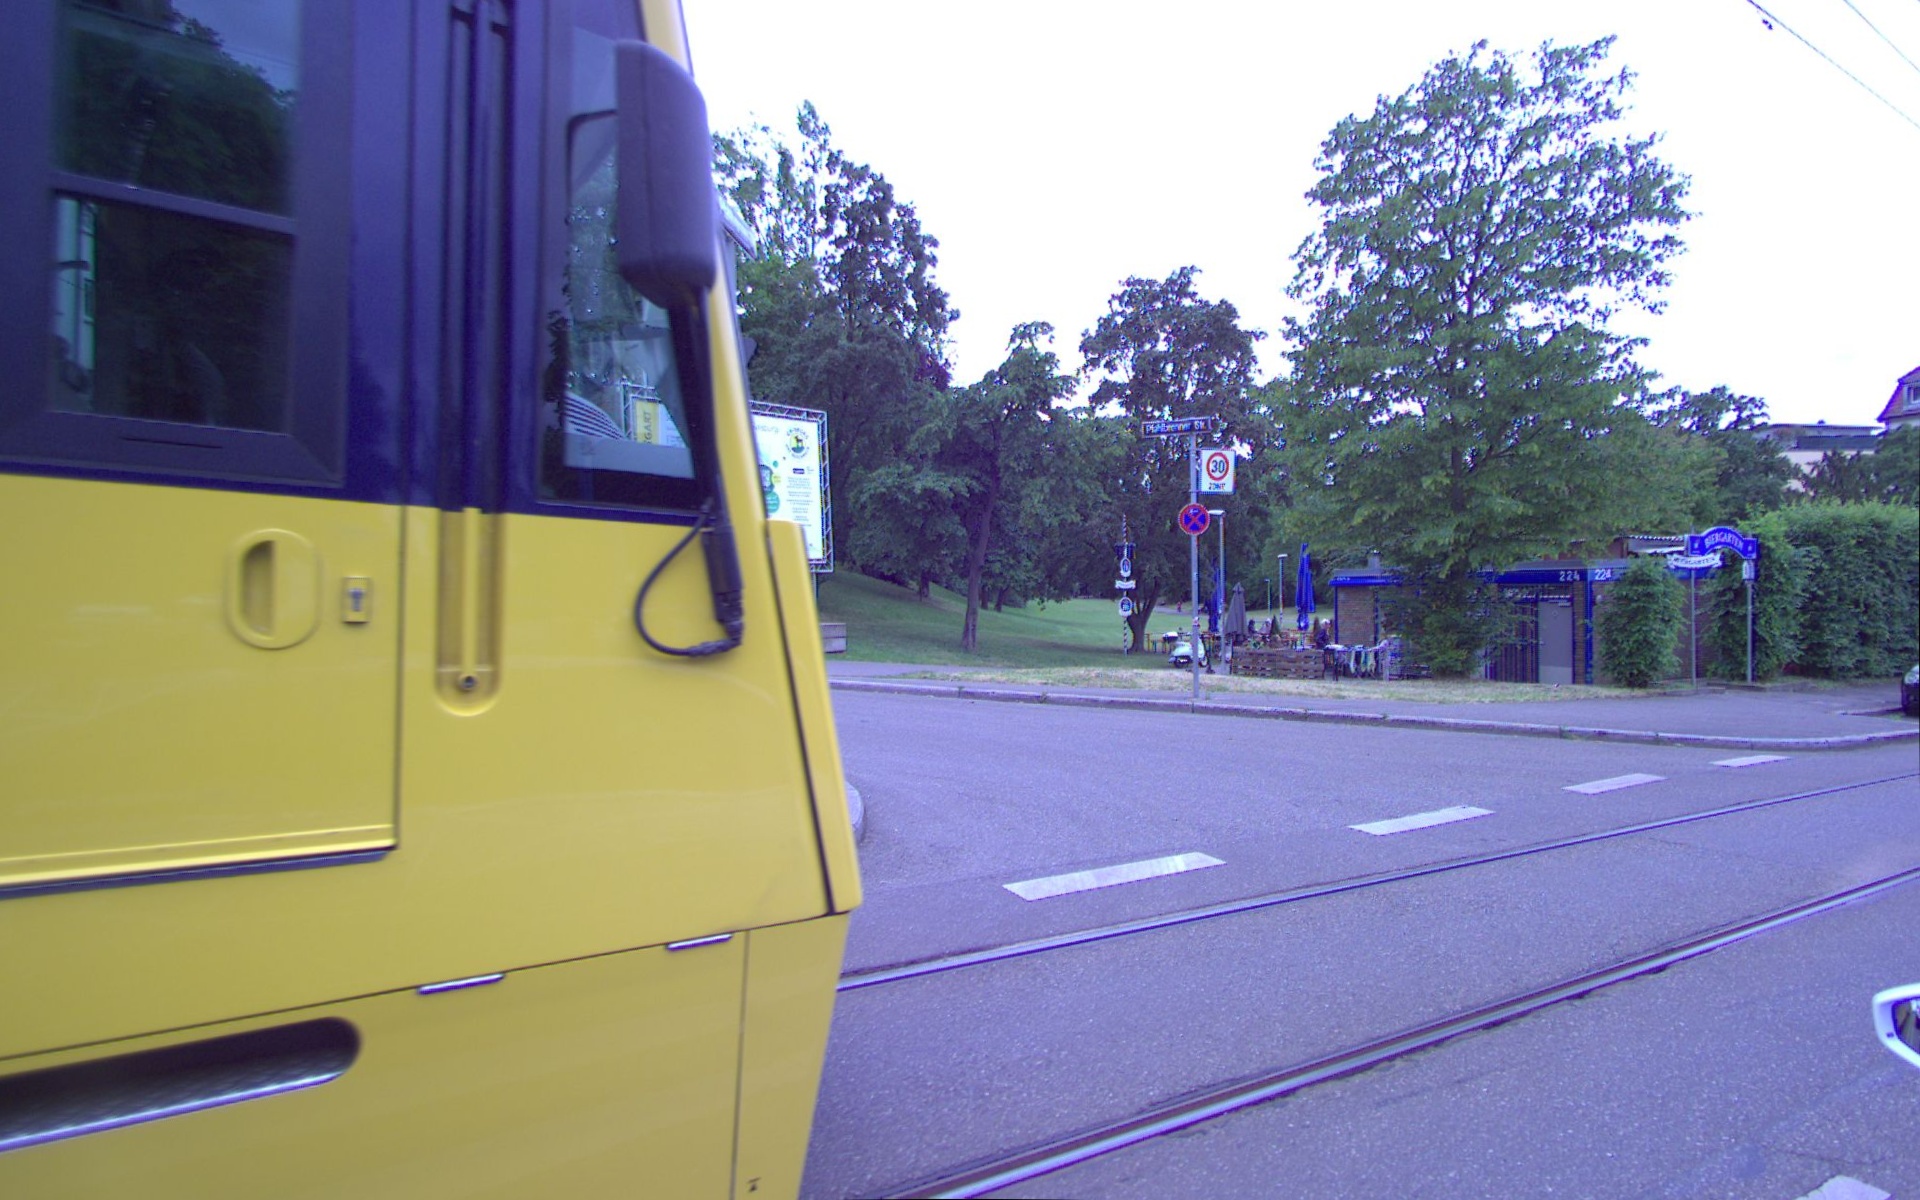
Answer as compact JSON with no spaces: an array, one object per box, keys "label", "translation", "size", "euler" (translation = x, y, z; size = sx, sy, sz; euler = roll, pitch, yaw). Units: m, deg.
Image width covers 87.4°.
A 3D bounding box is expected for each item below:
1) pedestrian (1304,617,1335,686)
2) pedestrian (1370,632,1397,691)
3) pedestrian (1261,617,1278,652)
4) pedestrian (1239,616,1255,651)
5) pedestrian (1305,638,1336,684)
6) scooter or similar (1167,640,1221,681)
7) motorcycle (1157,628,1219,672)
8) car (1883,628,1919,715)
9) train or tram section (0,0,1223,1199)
[{"label":"pedestrian","translation":[9.001,1.269,25.140],"size":[0.652,1.686,0.622],"euler":[1,0,14]},{"label":"pedestrian","translation":[10.080,1.455,23.924],"size":[0.509,1.360,0.483],"euler":[1,0,14]},{"label":"pedestrian","translation":[12.752,1.411,41.430],"size":[0.625,1.443,0.622],"euler":[1,0,14]},{"label":"pedestrian","translation":[12.155,1.404,42.511],"size":[0.625,1.443,0.622],"euler":[1,0,14]},{"label":"pedestrian","translation":[8.827,1.495,24.580],"size":[0.652,1.078,0.483],"euler":[1,0,14]},{"label":"scooter or similar","translation":[6.082,1.559,26.124],"size":[1.404,1.032,0.488],"euler":[2,-1,-30]},{"label":"motorcycle","translation":[7.154,1.542,31.430],"size":[2.244,1.322,0.616],"euler":[1,0,-40]},{"label":"car","translation":[17.644,1.227,17.121],"size":[4.115,1.423,1.780],"euler":[2,-1,-31]},{"label":"train or tram section","translation":[-5.346,-0.452,0.157],"size":[11.988,3.685,2.836],"euler":[1,0,-31]}]
